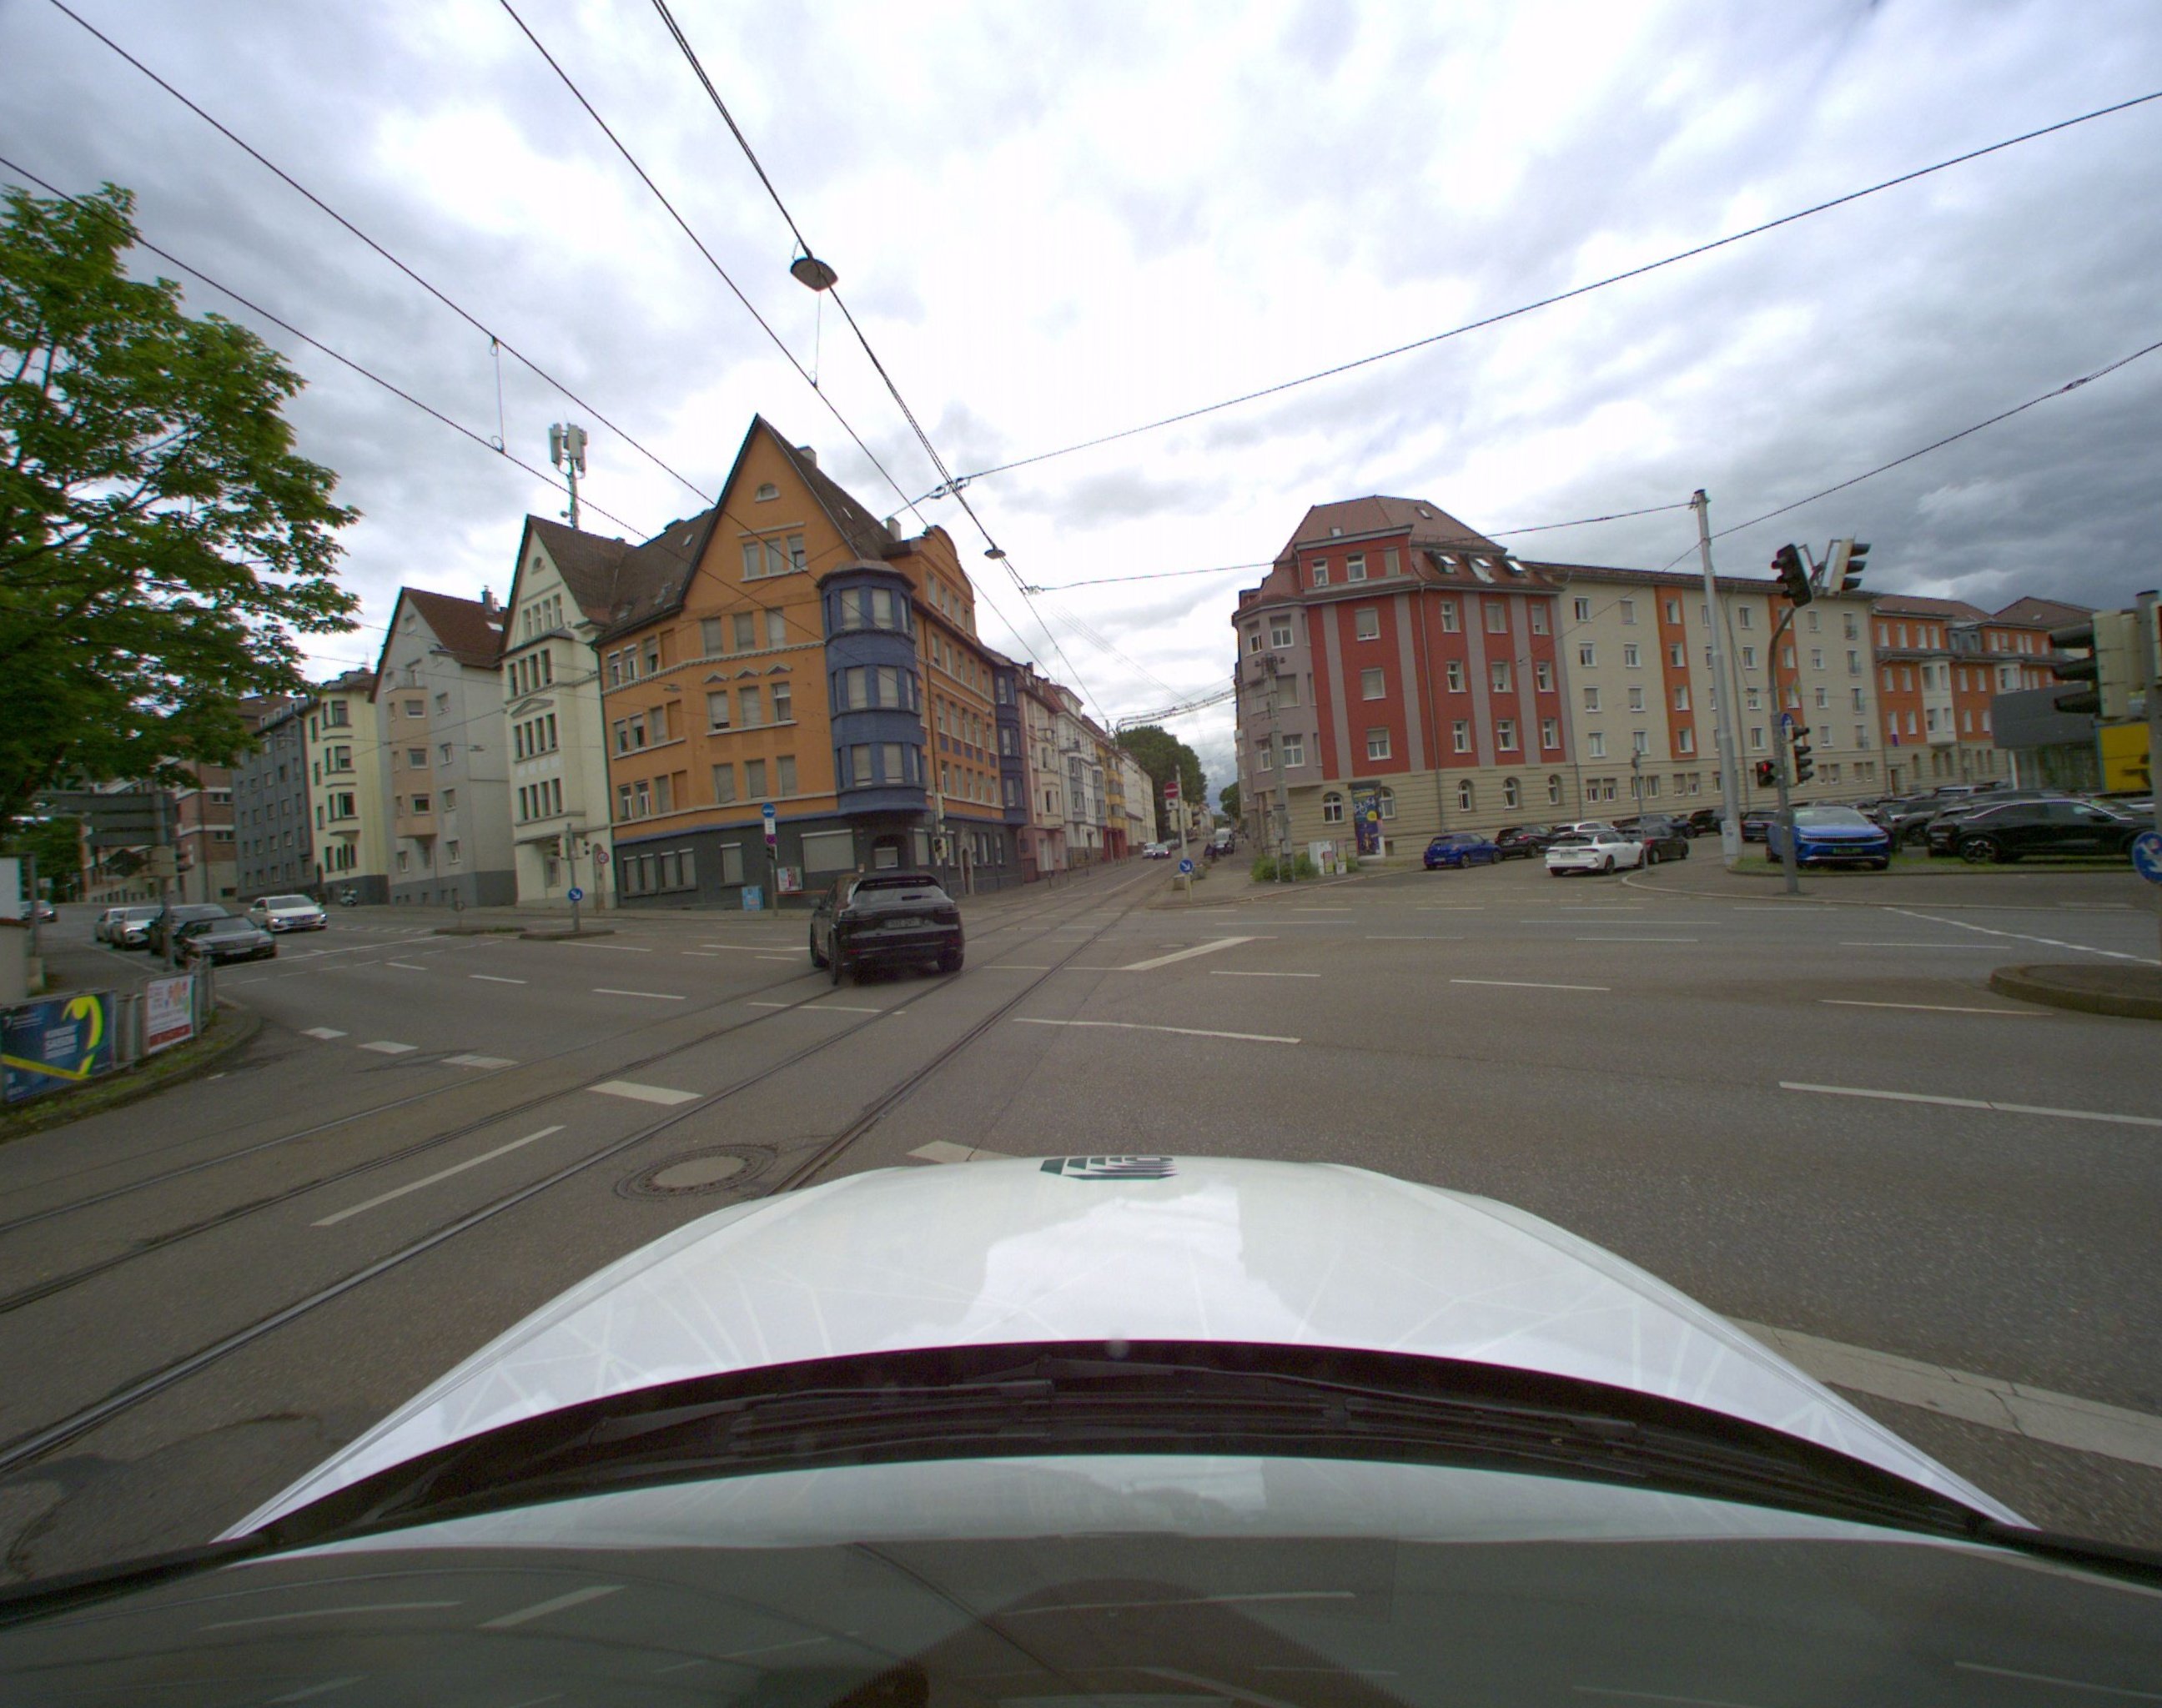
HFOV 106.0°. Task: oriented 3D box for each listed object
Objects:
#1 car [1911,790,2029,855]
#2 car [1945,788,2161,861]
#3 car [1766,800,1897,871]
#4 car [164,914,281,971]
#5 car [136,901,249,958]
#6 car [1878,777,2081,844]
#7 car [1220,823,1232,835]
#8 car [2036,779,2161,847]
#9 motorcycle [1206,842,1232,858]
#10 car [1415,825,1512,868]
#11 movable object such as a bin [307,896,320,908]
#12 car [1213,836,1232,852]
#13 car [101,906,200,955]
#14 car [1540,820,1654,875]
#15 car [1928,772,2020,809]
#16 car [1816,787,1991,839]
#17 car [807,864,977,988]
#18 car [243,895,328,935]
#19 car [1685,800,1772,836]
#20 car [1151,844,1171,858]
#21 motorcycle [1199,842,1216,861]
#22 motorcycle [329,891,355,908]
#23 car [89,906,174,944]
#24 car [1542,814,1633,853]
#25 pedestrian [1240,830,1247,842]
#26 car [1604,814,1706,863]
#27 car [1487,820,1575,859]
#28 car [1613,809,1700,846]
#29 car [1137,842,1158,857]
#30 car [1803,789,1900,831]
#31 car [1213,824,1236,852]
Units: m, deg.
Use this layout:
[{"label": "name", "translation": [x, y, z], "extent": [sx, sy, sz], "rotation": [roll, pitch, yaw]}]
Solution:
[{"label": "car", "translation": [24.582, -0.907, 22.650], "extent": [1.839, 1.550, 4.025], "rotation": [-3, 1, 43]}, {"label": "car", "translation": [22.897, -0.677, 18.589], "extent": [1.832, 1.476, 3.968], "rotation": [-5, 2, -24]}, {"label": "car", "translation": [19.574, -0.538, 21.428], "extent": [1.806, 1.577, 4.288], "rotation": [-2, 3, 33]}, {"label": "car", "translation": [-25.873, 2.590, 24.509], "extent": [4.181, 1.281, 1.820], "rotation": [-2, 3, 37]}, {"label": "car", "translation": [-31.226, 2.582, 28.589], "extent": [4.356, 1.642, 1.971], "rotation": [-3, 3, 35]}, {"label": "car", "translation": [28.623, -1.357, 26.066], "extent": [1.721, 1.780, 4.197], "rotation": [-5, 2, -38]}, {"label": "car", "translation": [30.648, -5.288, 172.000], "extent": [2.252, 2.183, 4.784], "rotation": [-3, 0, 11]}, {"label": "car", "translation": [26.760, -1.094, 21.284], "extent": [1.839, 1.550, 4.025], "rotation": [-3, 1, 43]}, {"label": "motorcycle", "translation": [12.376, -0.389, 73.027], "extent": [2.169, 1.326, 0.699], "rotation": [-3, 0, 0]}, {"label": "car", "translation": [16.620, -0.334, 35.322], "extent": [4.159, 1.534, 1.898], "rotation": [-5, 2, -35]}, {"label": "movable object such as a bin", "translation": [-57.112, 3.577, 60.606], "extent": [0.510, 0.891, 0.479], "rotation": [-3, 3, 31]}, {"label": "car", "translation": [14.882, -1.048, 85.584], "extent": [1.828, 1.568, 3.831], "rotation": [-3, 0, 11]}, {"label": "car", "translation": [-37.288, 3.010, 32.616], "extent": [4.439, 1.593, 1.971], "rotation": [-3, 3, 34]}, {"label": "car", "translation": [17.515, -0.236, 27.575], "extent": [4.162, 1.534, 1.896], "rotation": [-5, 2, -38]}, {"label": "car", "translation": [46.656, -3.316, 42.557], "extent": [4.144, 1.534, 1.904], "rotation": [-5, 1, -22]}, {"label": "car", "translation": [29.574, -1.449, 29.426], "extent": [1.800, 1.534, 4.079], "rotation": [-5, 2, -29]}, {"label": "car", "translation": [-3.335, 1.068, 13.652], "extent": [2.033, 1.641, 4.322], "rotation": [-2, -1, -23]}, {"label": "car", "translation": [-34.835, 2.629, 35.621], "extent": [4.269, 1.546, 1.793], "rotation": [-2, 0, 34]}, {"label": "car", "translation": [36.165, -2.007, 45.492], "extent": [4.144, 1.632, 1.905], "rotation": [-5, 1, -21]}, {"label": "car", "translation": [8.542, -0.321, 86.690], "extent": [1.675, 1.326, 3.674], "rotation": [-3, 0, 11]}, {"label": "motorcycle", "translation": [9.699, -0.198, 62.503], "extent": [0.857, 1.326, 2.185], "rotation": [-10, 0, 2]}, {"label": "motorcycle", "translation": [-51.512, 3.180, 56.778], "extent": [2.198, 1.155, 0.542], "rotation": [-2, 3, 29]}, {"label": "car", "translation": [-43.028, 3.191, 36.887], "extent": [4.021, 1.411, 1.857], "rotation": [-3, 3, 33]}, {"label": "car", "translation": [25.745, -1.028, 41.420], "extent": [4.148, 1.632, 1.903], "rotation": [-5, 1, -24]}, {"label": "pedestrian", "translation": [22.625, -2.487, 113.449], "extent": [0.673, 1.632, 0.678], "rotation": [-5, -4, 38]}, {"label": "car", "translation": [21.704, -0.596, 30.736], "extent": [4.161, 1.534, 1.897], "rotation": [-5, 2, -37]}, {"label": "car", "translation": [21.405, -0.700, 38.711], "extent": [4.159, 1.534, 1.898], "rotation": [-5, 2, -34]}, {"label": "car", "translation": [30.692, -1.432, 43.405], "extent": [4.148, 1.632, 1.903], "rotation": [-5, 1, -24]}, {"label": "car", "translation": [8.048, -0.603, 98.702], "extent": [1.980, 1.692, 4.013], "rotation": [-3, 0, 11]}, {"label": "car", "translation": [36.496, -2.064, 38.572], "extent": [4.149, 1.645, 1.902], "rotation": [-5, 1, -25]}, {"label": "car", "translation": [16.135, -1.761, 91.281], "extent": [2.252, 2.890, 4.784], "rotation": [-3, 0, 11]}]
